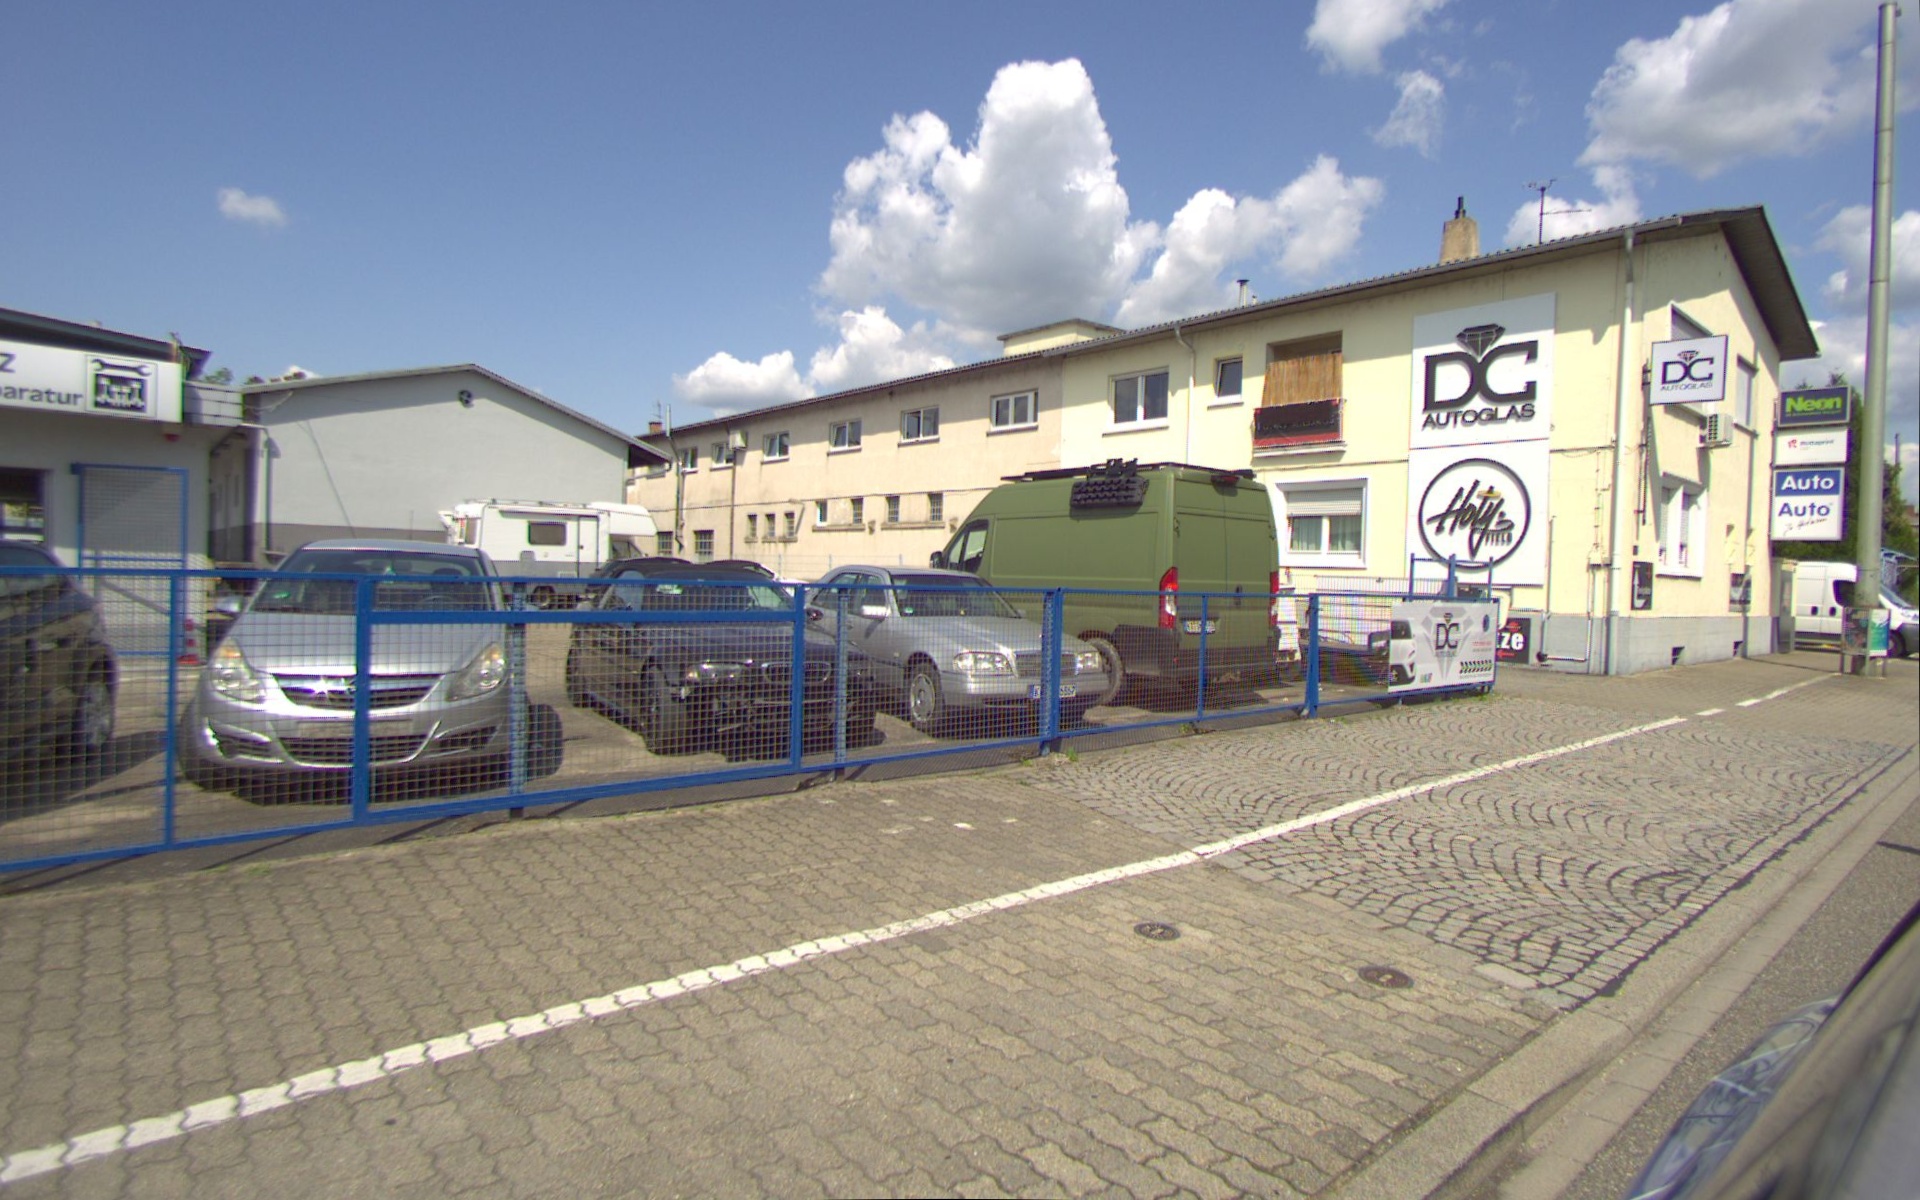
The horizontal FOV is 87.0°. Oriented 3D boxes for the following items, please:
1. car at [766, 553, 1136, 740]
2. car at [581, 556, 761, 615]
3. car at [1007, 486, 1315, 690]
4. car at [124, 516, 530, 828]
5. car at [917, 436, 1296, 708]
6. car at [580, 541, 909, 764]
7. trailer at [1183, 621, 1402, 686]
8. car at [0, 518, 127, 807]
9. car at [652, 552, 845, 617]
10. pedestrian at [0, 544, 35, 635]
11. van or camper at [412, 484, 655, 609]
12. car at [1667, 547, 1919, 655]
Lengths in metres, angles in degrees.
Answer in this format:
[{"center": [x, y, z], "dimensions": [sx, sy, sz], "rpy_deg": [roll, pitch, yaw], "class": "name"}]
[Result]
[{"center": [-0.339, 0.288, 10.203], "dimensions": [1.679, 1.470, 4.292], "rpy_deg": [1, 2, -33], "class": "car"}, {"center": [-7.307, -0.359, 25.811], "dimensions": [4.112, 1.378, 1.645], "rpy_deg": [0, 2, -41], "class": "car"}, {"center": [2.652, -0.220, 14.253], "dimensions": [1.557, 2.436, 4.208], "rpy_deg": [1, 2, -39], "class": "car"}, {"center": [-3.899, 0.282, 6.840], "dimensions": [1.736, 1.470, 3.778], "rpy_deg": [1, 2, -24], "class": "car"}, {"center": [1.587, -0.349, 12.256], "dimensions": [2.075, 2.675, 4.208], "rpy_deg": [1, 2, -39], "class": "car"}, {"center": [-2.129, 0.275, 8.897], "dimensions": [1.737, 1.470, 4.128], "rpy_deg": [1, 2, -28], "class": "car"}, {"center": [4.749, 0.725, 14.650], "dimensions": [1.307, 0.674, 2.730], "rpy_deg": [0, 2, -42], "class": "trailer"}, {"center": [-5.629, 0.305, 4.873], "dimensions": [1.606, 1.470, 3.701], "rpy_deg": [1, 2, -25], "class": "car"}, {"center": [-4.845, -0.348, 23.548], "dimensions": [4.112, 1.378, 1.645], "rpy_deg": [0, 2, -41], "class": "car"}, {"center": [-13.162, -0.156, 13.881], "dimensions": [0.652, 1.224, 0.566], "rpy_deg": [1, 1, -39], "class": "pedestrian"}, {"center": [-11.304, -1.324, 27.110], "dimensions": [5.556, 3.002, 2.272], "rpy_deg": [0, 2, -42], "class": "van or camper"}, {"center": [22.879, -0.061, 27.263], "dimensions": [2.055, 2.493, 5.838], "rpy_deg": [0, 4, -39], "class": "car"}]
